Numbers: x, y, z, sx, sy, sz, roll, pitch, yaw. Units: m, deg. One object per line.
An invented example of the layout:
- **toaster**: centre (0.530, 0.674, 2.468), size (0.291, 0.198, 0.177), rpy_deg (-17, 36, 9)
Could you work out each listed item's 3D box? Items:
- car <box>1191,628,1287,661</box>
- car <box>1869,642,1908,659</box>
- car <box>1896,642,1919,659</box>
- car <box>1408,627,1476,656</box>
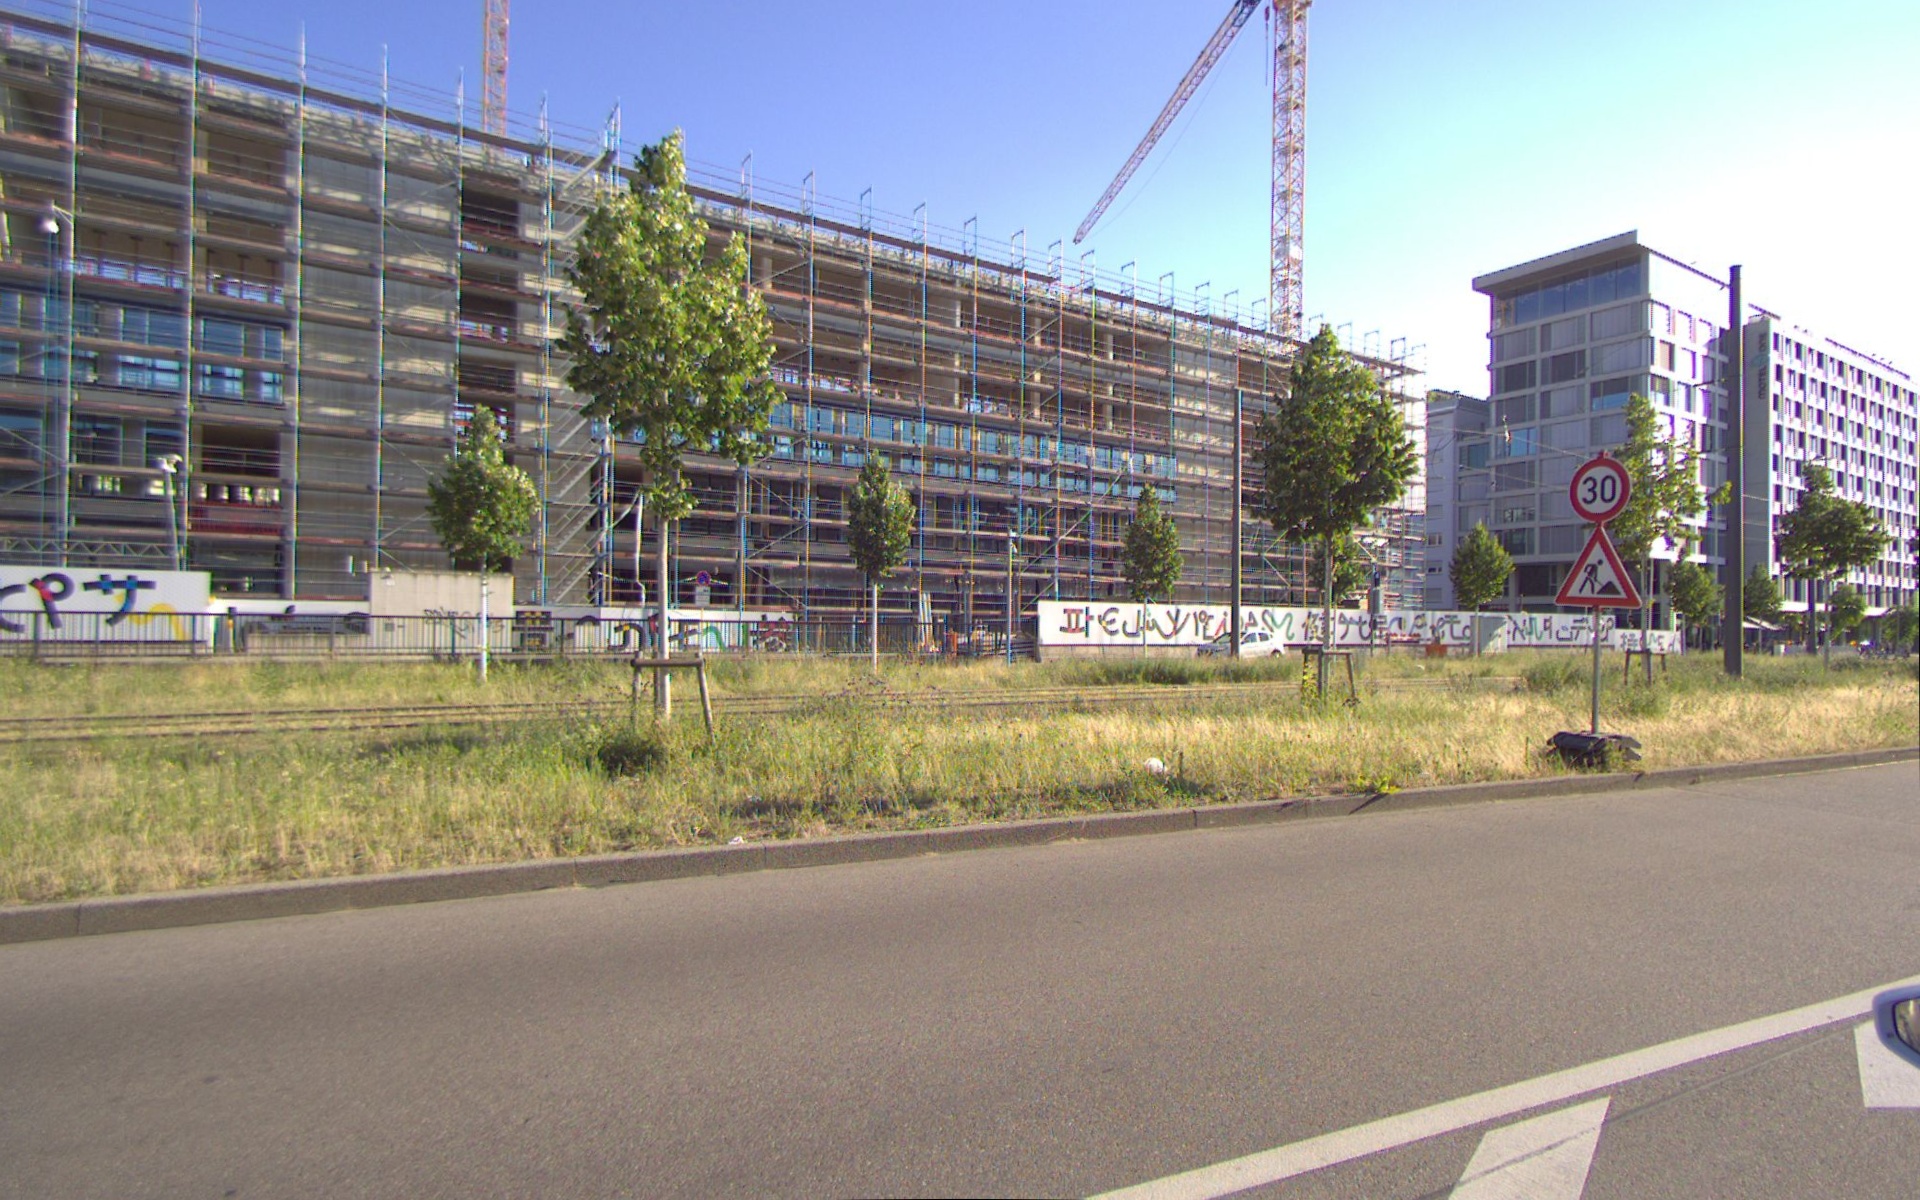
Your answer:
- **car**: centre (11.821, 1.877, 42.498), size (4.045, 1.327, 1.520), rpy_deg (1, -1, -30)
- **car**: centre (84.019, 4.588, 90.888), size (3.543, 1.461, 1.699), rpy_deg (2, 0, -32)
- **car**: centre (84.671, 4.485, 88.996), size (3.543, 1.461, 1.699), rpy_deg (2, 0, -32)
- **car**: centre (26.193, 2.273, 54.565), size (3.543, 1.461, 1.699), rpy_deg (2, 0, -32)
